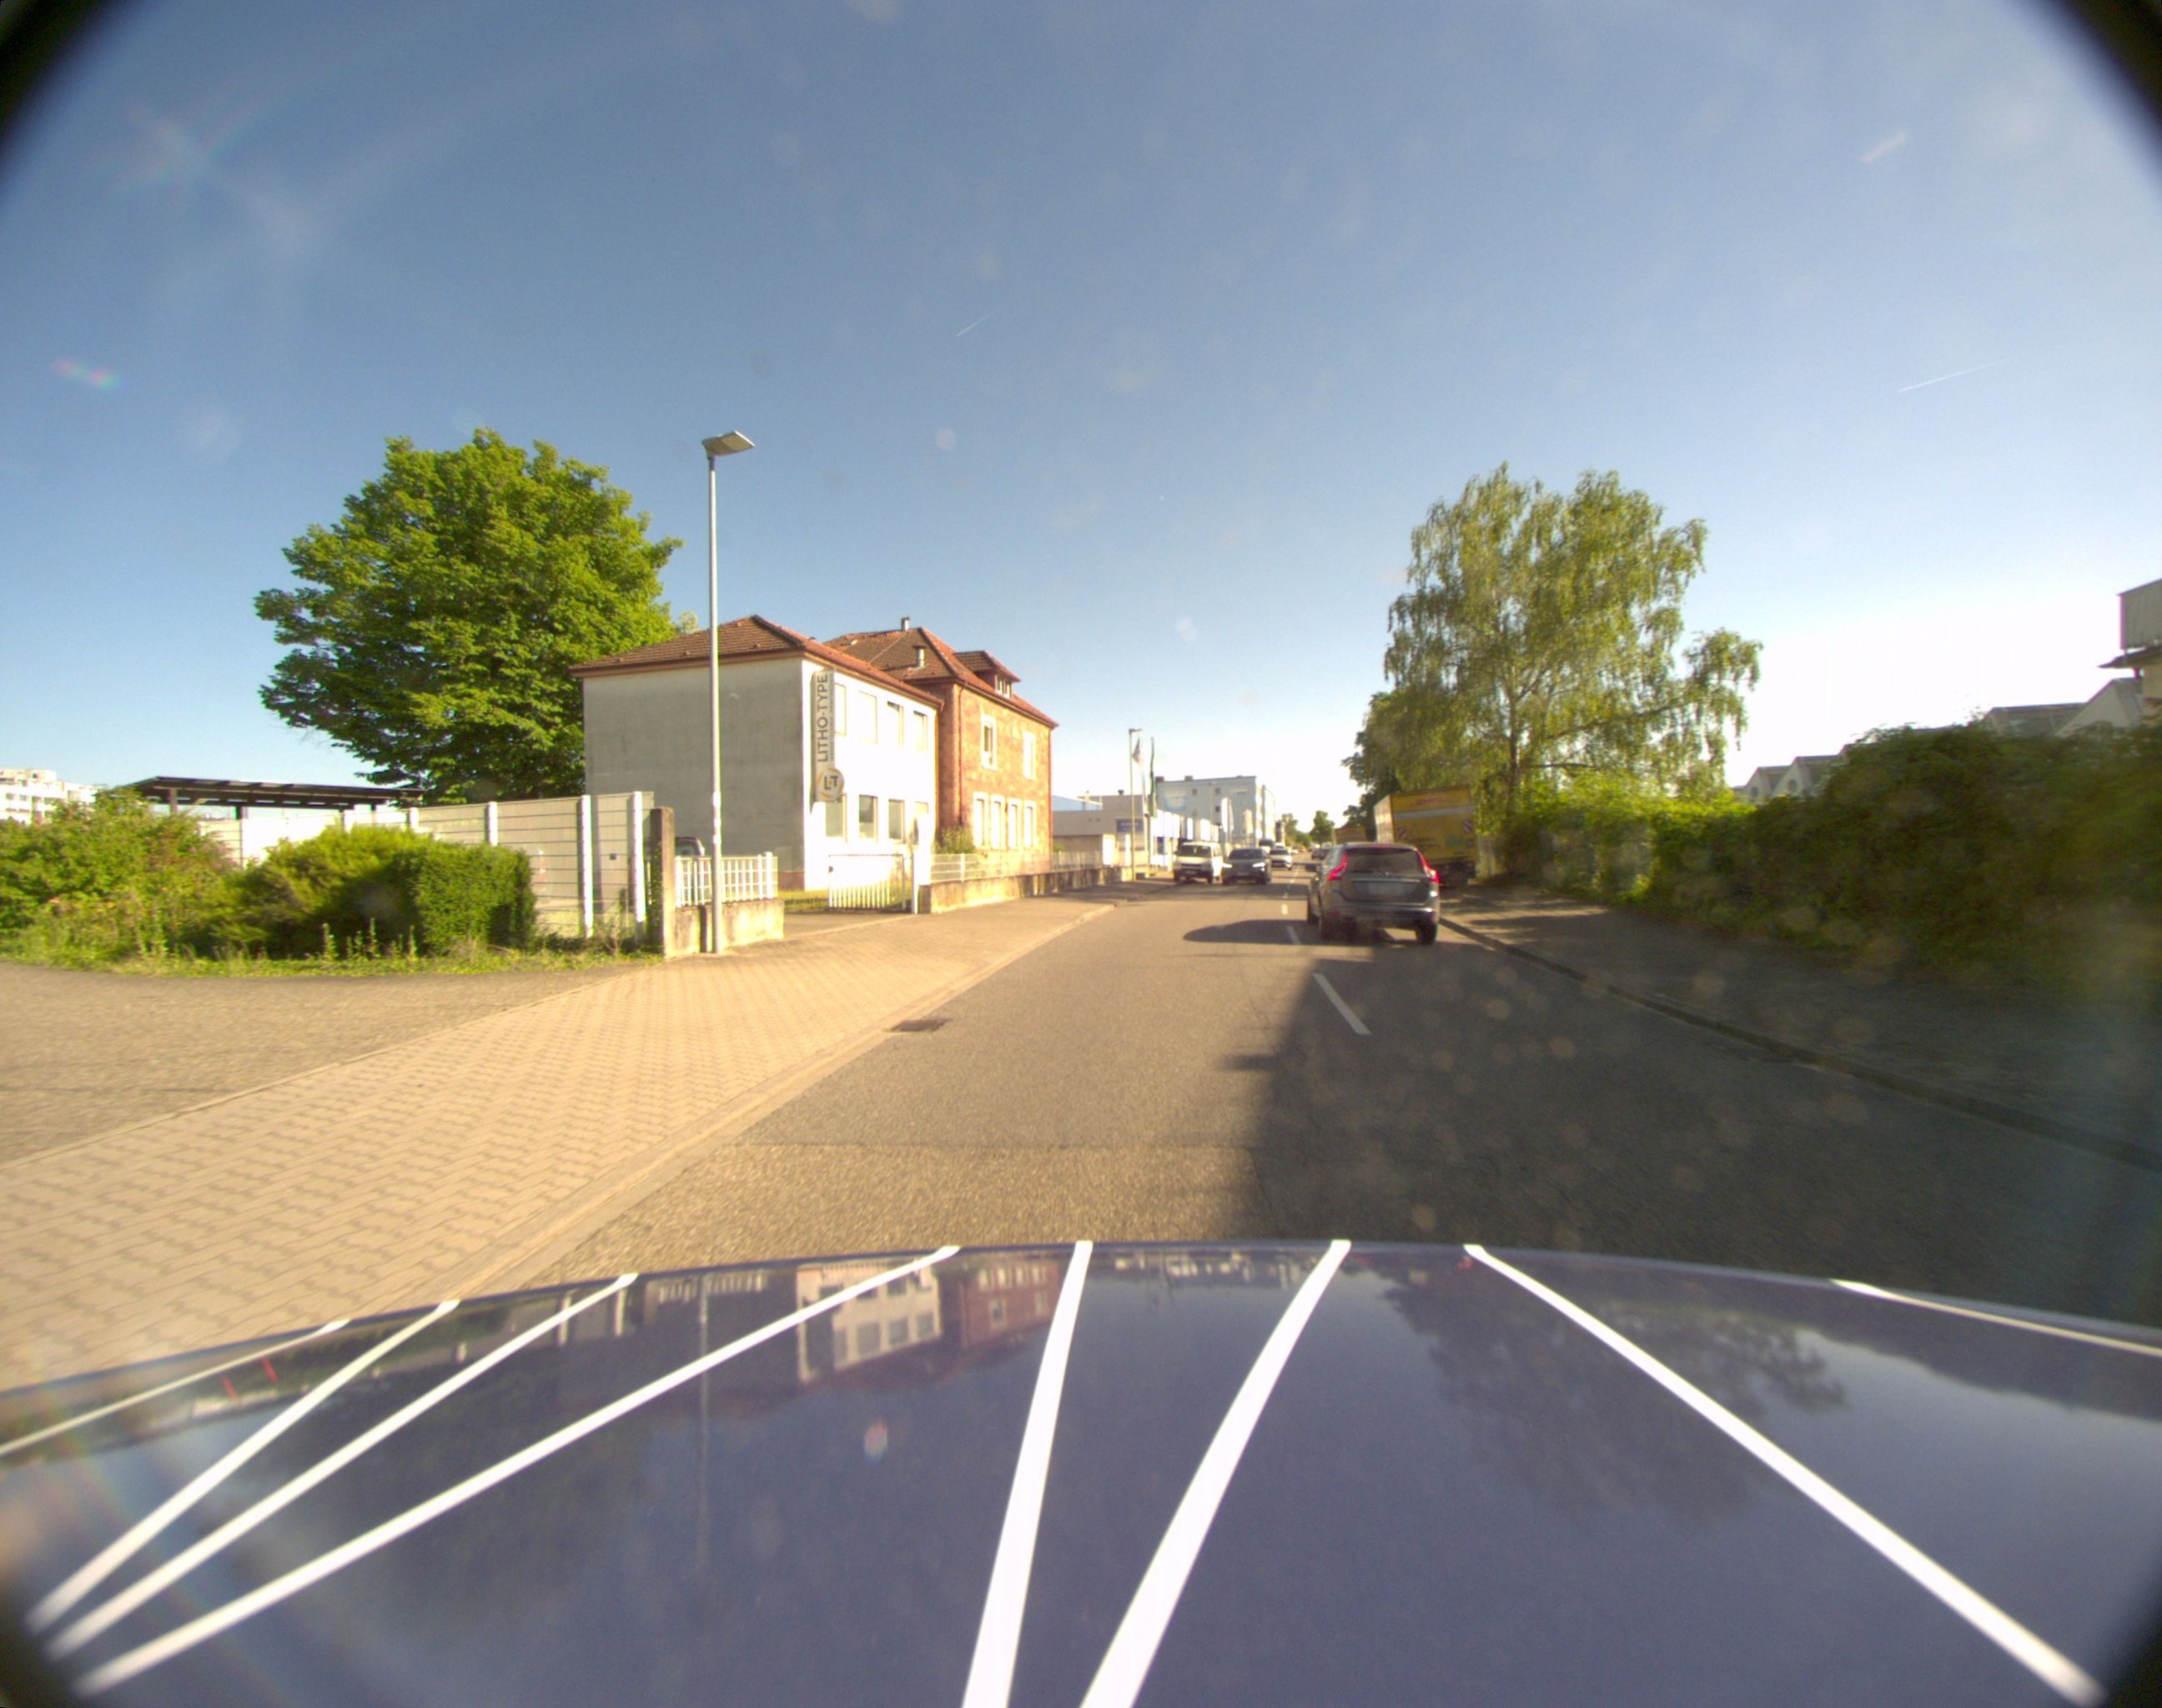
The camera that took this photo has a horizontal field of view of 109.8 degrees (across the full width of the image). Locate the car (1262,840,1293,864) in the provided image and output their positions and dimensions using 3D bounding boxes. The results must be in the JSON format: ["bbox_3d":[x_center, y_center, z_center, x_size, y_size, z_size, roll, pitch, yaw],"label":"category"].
[{"bbox_3d":[13.935,-0.189,53.677,1.847,1.621,4.300,0,1,18],"label":"car"}]

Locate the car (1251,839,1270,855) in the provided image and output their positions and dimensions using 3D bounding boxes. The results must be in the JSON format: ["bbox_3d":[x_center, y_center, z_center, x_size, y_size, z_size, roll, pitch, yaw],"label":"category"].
[{"bbox_3d":[19.850,-0.808,83.966,1.848,1.695,4.300,0,1,16],"label":"car"}]

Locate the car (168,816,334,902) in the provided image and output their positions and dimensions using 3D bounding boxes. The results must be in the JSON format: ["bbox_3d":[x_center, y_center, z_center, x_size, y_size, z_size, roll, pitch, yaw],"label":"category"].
[{"bbox_3d":[-26.364,0.133,24.126,5.022,2.527,1.841,0,1,22],"label":"car"}]

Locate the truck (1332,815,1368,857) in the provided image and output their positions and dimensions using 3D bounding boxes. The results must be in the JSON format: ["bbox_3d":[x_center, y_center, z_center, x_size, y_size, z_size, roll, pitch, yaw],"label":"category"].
[{"bbox_3d":[25.073,-1.669,71.180,2.792,3.736,7.906,0,1,17],"label":"truck"}]

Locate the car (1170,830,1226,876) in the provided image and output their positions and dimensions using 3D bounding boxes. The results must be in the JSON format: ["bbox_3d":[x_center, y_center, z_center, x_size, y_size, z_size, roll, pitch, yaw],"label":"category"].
[{"bbox_3d":[5.780,-0.071,37.054,1.848,2.002,4.720,-4,0,18],"label":"car"}]

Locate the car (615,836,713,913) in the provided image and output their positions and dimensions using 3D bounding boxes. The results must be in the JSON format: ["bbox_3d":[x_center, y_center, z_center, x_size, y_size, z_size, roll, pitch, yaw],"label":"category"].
[{"bbox_3d":[-10.717,0.431,19.759,2.003,1.767,4.355,-1,1,-27],"label":"car"}]

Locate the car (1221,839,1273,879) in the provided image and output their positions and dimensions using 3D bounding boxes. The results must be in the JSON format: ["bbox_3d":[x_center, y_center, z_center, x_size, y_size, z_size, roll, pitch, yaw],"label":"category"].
[{"bbox_3d":[7.359,0.178,33.379,1.847,1.621,4.300,0,1,18],"label":"car"}]

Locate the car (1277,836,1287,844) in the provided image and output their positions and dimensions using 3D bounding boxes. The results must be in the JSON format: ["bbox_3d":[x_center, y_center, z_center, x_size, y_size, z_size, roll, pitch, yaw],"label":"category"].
[{"bbox_3d":[41.197,-2.824,155.336,1.848,1.621,4.300,0,1,16],"label":"car"}]

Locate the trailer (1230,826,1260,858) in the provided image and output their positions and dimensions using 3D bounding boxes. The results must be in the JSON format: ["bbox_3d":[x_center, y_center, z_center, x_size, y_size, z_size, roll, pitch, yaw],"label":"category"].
[{"bbox_3d":[14.442,-1.019,66.782,2.158,2.702,4.202,0,1,19],"label":"trailer"}]

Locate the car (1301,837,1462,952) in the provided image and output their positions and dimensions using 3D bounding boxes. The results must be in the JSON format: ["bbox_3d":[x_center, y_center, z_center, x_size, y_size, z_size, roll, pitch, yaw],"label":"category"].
[{"bbox_3d":[5.227,0.570,13.862,1.996,1.686,4.569,2,1,13],"label":"car"}]

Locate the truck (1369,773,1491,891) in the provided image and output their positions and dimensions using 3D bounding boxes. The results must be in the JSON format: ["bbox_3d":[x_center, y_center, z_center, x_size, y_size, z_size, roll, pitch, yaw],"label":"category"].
[{"bbox_3d":[12.851,-0.742,28.706,2.845,3.598,8.016,-5,-1,17],"label":"truck"}]

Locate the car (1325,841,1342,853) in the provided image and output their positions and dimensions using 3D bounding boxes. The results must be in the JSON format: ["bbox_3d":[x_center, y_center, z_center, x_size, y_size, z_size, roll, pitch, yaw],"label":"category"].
[{"bbox_3d":[33.534,-0.952,100.947,1.848,1.621,4.299,0,1,14],"label":"car"}]

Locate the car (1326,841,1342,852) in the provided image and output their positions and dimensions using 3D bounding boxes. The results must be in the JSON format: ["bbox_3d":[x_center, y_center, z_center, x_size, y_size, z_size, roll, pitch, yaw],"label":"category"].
[{"bbox_3d":[35.683,-1.064,107.415,1.848,1.621,4.299,0,1,14],"label":"car"}]

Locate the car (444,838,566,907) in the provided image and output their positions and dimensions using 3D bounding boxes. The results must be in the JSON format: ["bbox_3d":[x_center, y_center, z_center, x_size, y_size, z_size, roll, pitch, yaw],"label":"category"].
[{"bbox_3d":[-16.426,0.440,21.927,2.003,1.767,4.355,-1,1,-27],"label":"car"}]

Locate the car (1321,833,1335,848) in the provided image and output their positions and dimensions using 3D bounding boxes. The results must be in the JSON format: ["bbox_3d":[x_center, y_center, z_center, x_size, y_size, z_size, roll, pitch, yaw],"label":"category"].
[{"bbox_3d":[51.973,-2.818,160.075,2.170,2.975,6.347,0,1,13],"label":"car"}]
